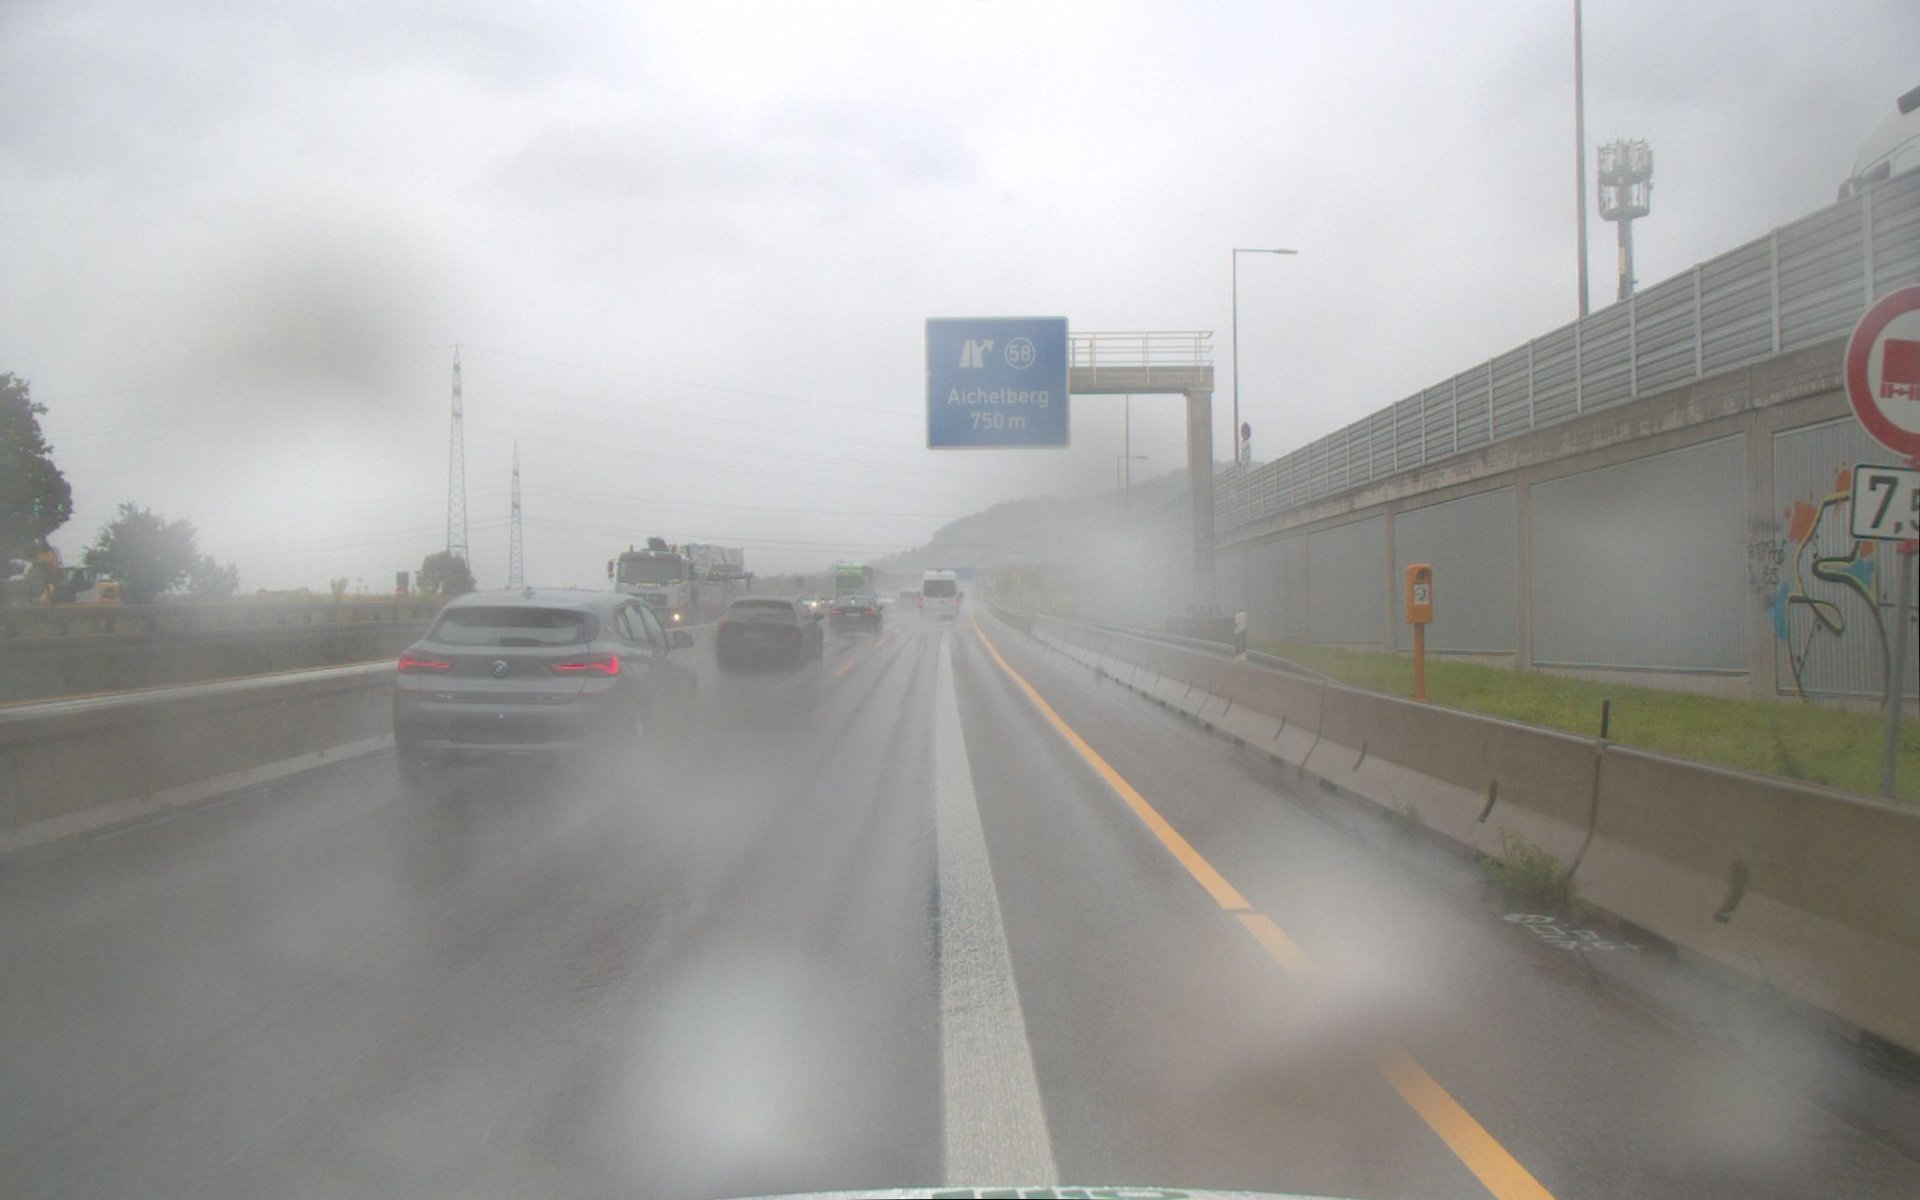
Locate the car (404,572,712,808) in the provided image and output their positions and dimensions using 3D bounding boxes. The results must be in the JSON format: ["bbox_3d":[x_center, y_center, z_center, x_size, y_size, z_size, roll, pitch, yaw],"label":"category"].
[{"bbox_3d":[-3.136,0.674,13.856,1.667,1.626,4.841,0,-1,-4],"label":"car"}]

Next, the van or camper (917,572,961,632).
[{"bbox_3d":[-1.051,0.121,80.645,1.957,2.826,4.046,0,-1,-4],"label":"van or camper"}]

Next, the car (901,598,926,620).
[{"bbox_3d":[-3.387,0.681,120.869,1.537,1.506,2.817,-2,-1,-7],"label":"car"}]

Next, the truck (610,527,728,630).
[{"bbox_3d":[-10.361,-0.729,59.878,2.585,3.406,9.551,1,0,0],"label":"truck"}]

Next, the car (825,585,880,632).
[{"bbox_3d":[-3.773,0.294,58.250,1.808,1.517,4.258,-2,0,-4],"label":"car"}]

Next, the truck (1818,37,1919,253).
[{"bbox_3d":[12.442,-5.692,20.053,1.953,2.049,4.057,0,-1,0],"label":"truck"}]

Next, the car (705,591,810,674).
[{"bbox_3d":[-3.921,0.640,32.593,1.808,1.517,4.258,0,-1,-4],"label":"car"}]

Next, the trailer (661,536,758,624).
[{"bbox_3d":[-10.396,-0.799,69.537,2.607,3.421,9.713,1,0,0],"label":"trailer"}]

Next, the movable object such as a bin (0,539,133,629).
[{"bbox_3d":[-42.231,-0.634,77.544,2.673,3.988,8.461,0,-1,-1],"label":"movable object such as a bin"}]
